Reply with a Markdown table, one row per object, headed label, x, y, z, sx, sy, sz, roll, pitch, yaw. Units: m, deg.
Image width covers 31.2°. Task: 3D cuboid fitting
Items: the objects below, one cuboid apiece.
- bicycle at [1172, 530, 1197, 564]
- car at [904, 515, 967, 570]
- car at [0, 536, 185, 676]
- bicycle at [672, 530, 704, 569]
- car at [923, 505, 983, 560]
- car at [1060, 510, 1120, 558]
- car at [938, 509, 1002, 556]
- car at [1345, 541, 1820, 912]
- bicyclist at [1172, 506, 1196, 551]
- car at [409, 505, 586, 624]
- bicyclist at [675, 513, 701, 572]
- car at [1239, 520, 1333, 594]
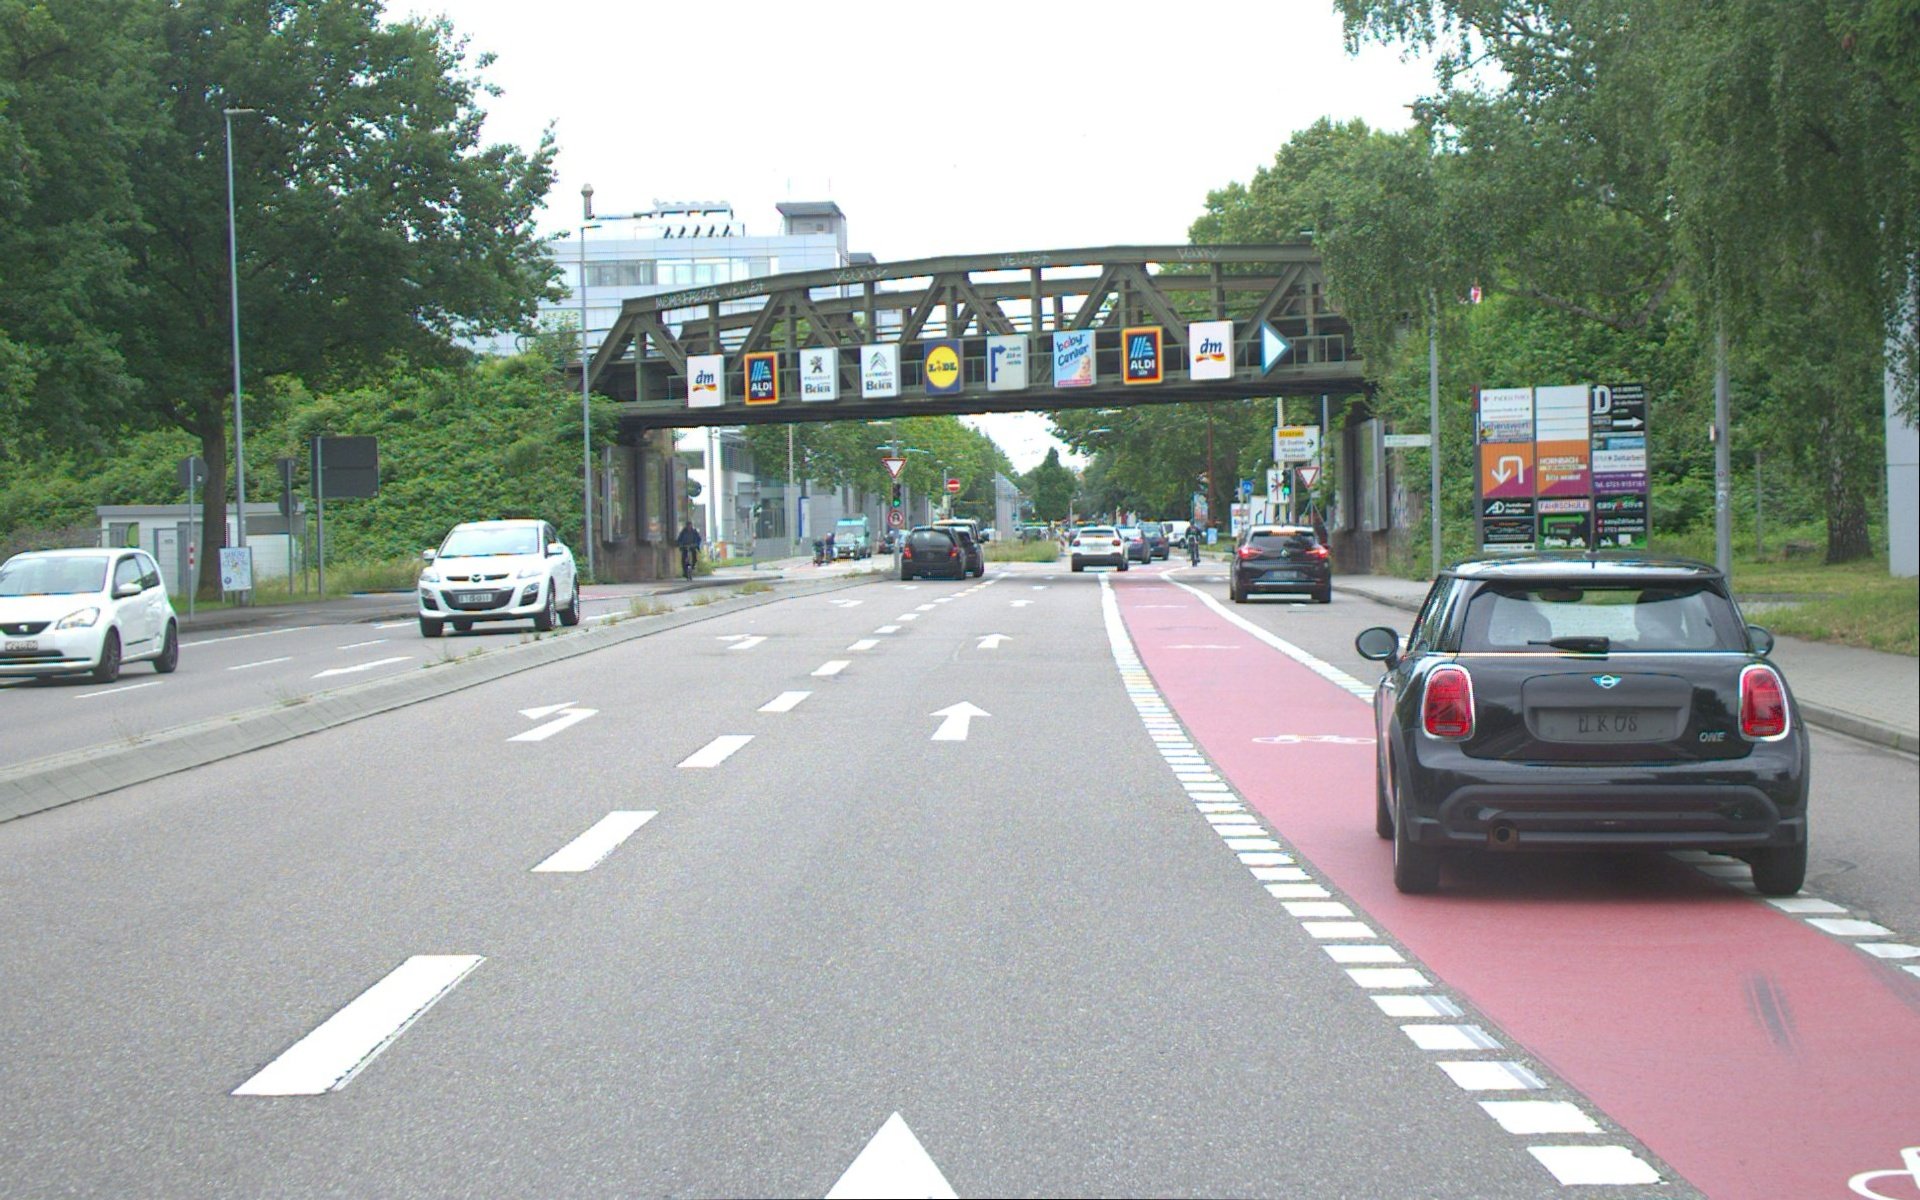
| label | x | y | z | sx | sy | sz | roll | pitch | yaw |
| --- | --- | --- | --- | --- | --- | --- | --- | --- | --- |
| bicycle | 8.231 | -1.960 | 126.034 | 0.816 | 1.208 | 2.683 | -2 | 1 | 2 |
| car | -0.725 | -1.668 | 98.495 | 1.768 | 1.522 | 3.670 | 0 | 1 | -1 |
| car | -9.852 | 0.033 | 38.206 | 1.676 | 1.423 | 3.651 | -1 | 2 | -1 |
| bicycle | -8.608 | -1.595 | 108.817 | 0.713 | 1.183 | 2.370 | 1 | 1 | 2 |
| car | -0.233 | -2.072 | 105.070 | 1.772 | 1.647 | 3.670 | 0 | 1 | -1 |
| car | 4.397 | -2.255 | 116.532 | 1.823 | 1.595 | 3.776 | 0 | 1 | -1 |
| car | 0.307 | -2.248 | 113.403 | 1.962 | 1.522 | 5.011 | 0 | 2 | -2 |
| car | 2.672 | 0.466 | 15.503 | 1.679 | 1.426 | 3.774 | 0 | 1 | 4 |
| bicyclist | 8.211 | -2.613 | 126.021 | 0.816 | 1.624 | 1.235 | -2 | 1 | 2 |
| car | -6.738 | -0.560 | 50.490 | 1.818 | 1.581 | 4.513 | -3 | 2 | 1 |
| bicyclist | -8.608 | -1.815 | 108.848 | 0.702 | 1.868 | 1.020 | 1 | 1 | 2 |
| car | 5.885 | -0.800 | 62.305 | 1.647 | 1.276 | 3.419 | 0 | 1 | 5 |
